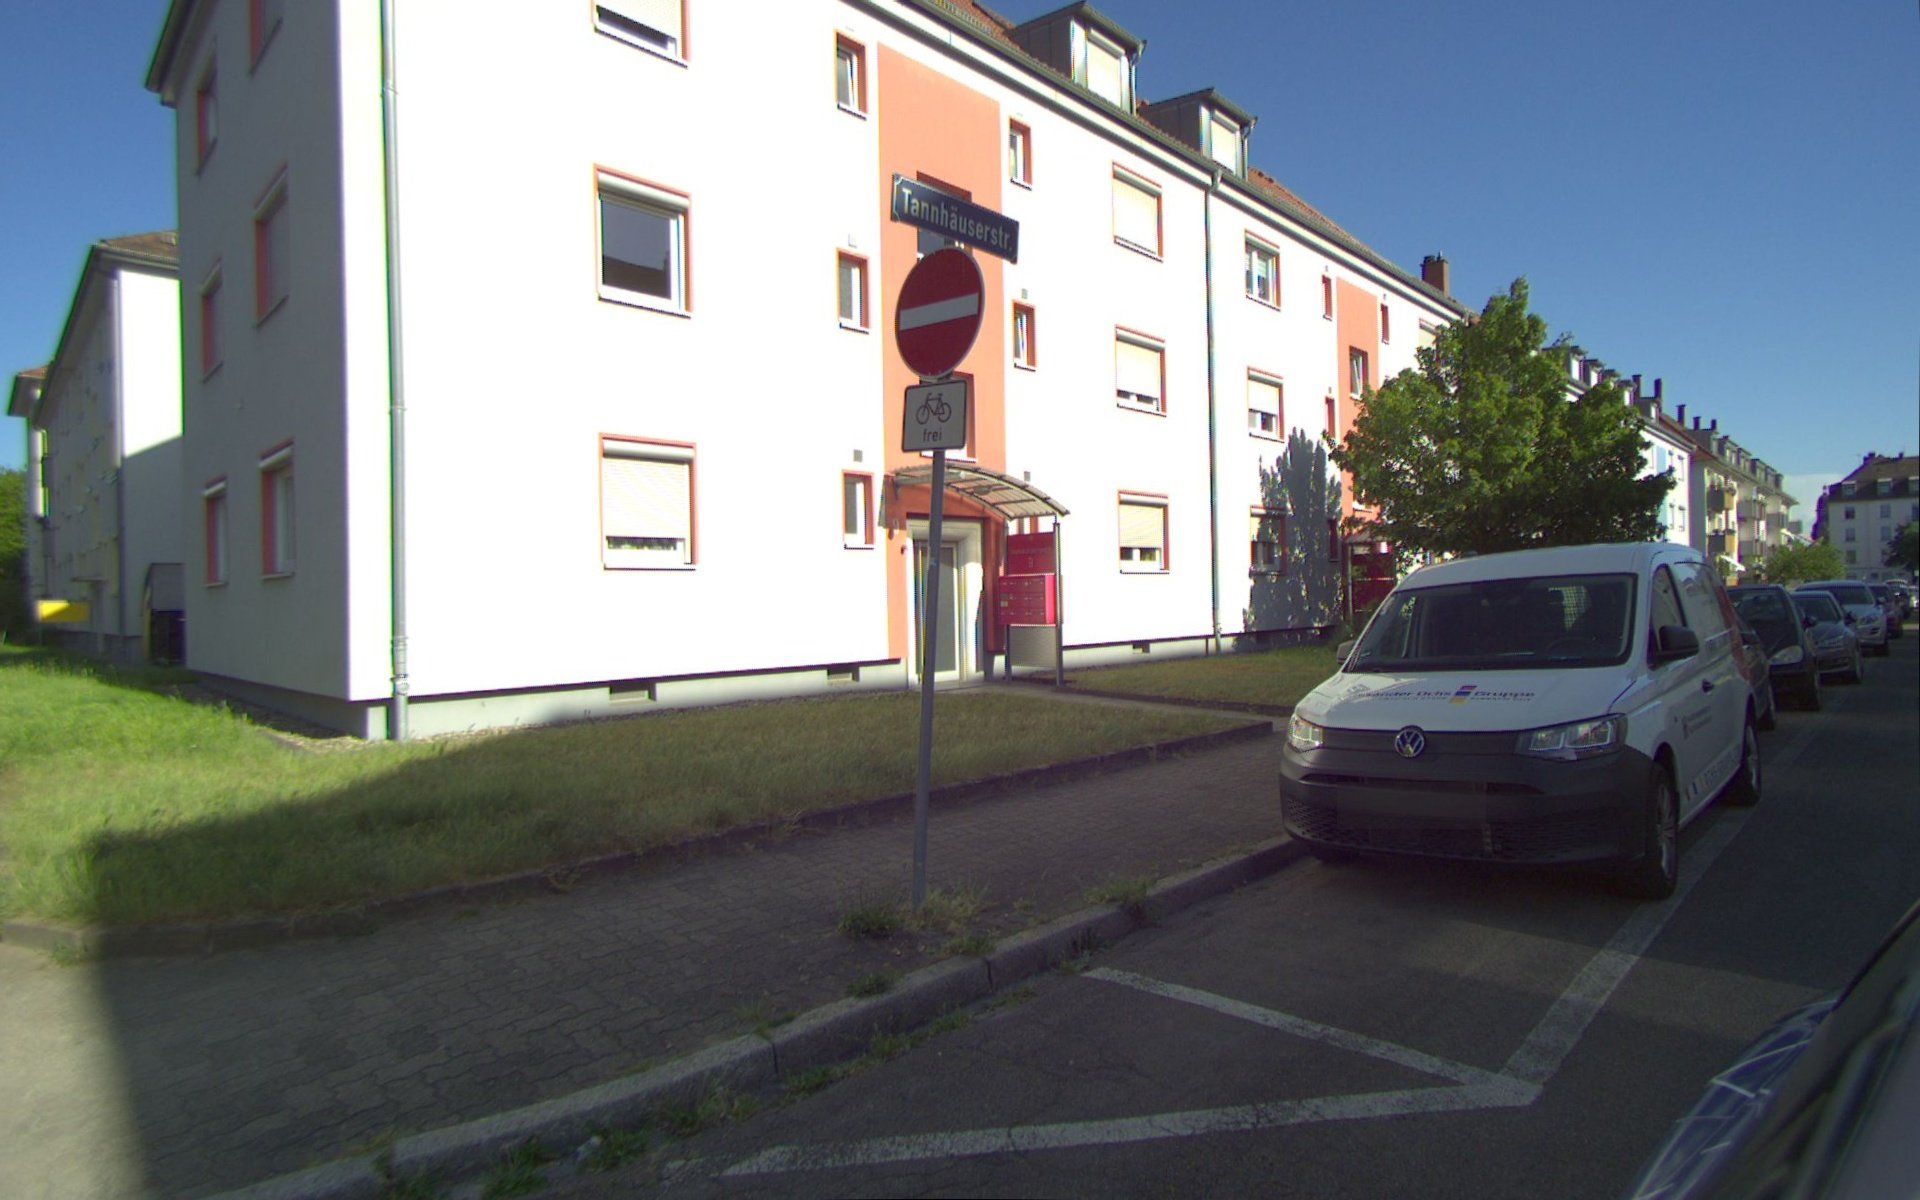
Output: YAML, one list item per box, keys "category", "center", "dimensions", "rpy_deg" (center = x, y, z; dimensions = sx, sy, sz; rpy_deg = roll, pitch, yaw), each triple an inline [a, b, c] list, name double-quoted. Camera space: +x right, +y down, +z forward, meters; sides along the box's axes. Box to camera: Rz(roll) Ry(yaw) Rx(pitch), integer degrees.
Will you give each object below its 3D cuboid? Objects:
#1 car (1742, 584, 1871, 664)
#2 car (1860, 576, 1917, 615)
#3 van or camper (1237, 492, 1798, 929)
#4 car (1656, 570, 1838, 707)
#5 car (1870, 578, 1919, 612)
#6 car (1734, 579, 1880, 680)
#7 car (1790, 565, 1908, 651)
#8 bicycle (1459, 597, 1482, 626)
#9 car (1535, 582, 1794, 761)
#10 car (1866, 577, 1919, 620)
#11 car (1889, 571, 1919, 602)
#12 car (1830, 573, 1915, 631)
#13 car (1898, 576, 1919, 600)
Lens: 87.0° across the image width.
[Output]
- category: "car"
  center: [16.606, 0.404, 19.805]
  dimensions: [3.432, 1.412, 1.629]
  rpy_deg: [-1, 0, -45]
- category: "car"
  center: [40.570, -0.219, 44.182]
  dimensions: [1.705, 1.591, 3.976]
  rpy_deg: [0, 0, 44]
- category: "van or camper"
  center: [3.799, 0.460, 6.406]
  dimensions: [1.792, 1.770, 4.659]
  rpy_deg: [-6, -3, 45]
- category: "car"
  center: [10.667, 0.476, 13.672]
  dimensions: [1.614, 1.570, 3.559]
  rpy_deg: [-6, -3, 40]
- category: "car"
  center: [44.663, -0.255, 48.245]
  dimensions: [1.705, 1.591, 3.976]
  rpy_deg: [0, 0, 44]
- category: "car"
  center: [13.956, 0.434, 16.603]
  dimensions: [1.628, 1.469, 3.890]
  rpy_deg: [-1, -1, 43]
- category: "car"
  center: [20.144, 0.166, 22.936]
  dimensions: [1.774, 1.741, 4.242]
  rpy_deg: [-4, -2, 42]
- category: "bicycle"
  center: [17.718, 0.398, 35.123]
  dimensions: [1.261, 0.958, 0.319]
  rpy_deg: [-1, 2, -43]
- category: "car"
  center: [7.137, 0.588, 10.107]
  dimensions: [1.572, 1.435, 3.730]
  rpy_deg: [-4, -2, 43]
- category: "car"
  center: [36.210, -0.076, 39.050]
  dimensions: [1.705, 1.591, 3.814]
  rpy_deg: [0, 0, 44]
- category: "car"
  center: [61.516, -0.899, 65.409]
  dimensions: [4.688, 1.924, 1.949]
  rpy_deg: [-2, 1, -45]
- category: "car"
  center: [27.625, 0.038, 30.583]
  dimensions: [1.727, 1.627, 4.353]
  rpy_deg: [0, 0, 44]
- category: "car"
  center: [66.212, -0.837, 70.062]
  dimensions: [4.659, 1.591, 1.705]
  rpy_deg: [-2, 1, -45]
